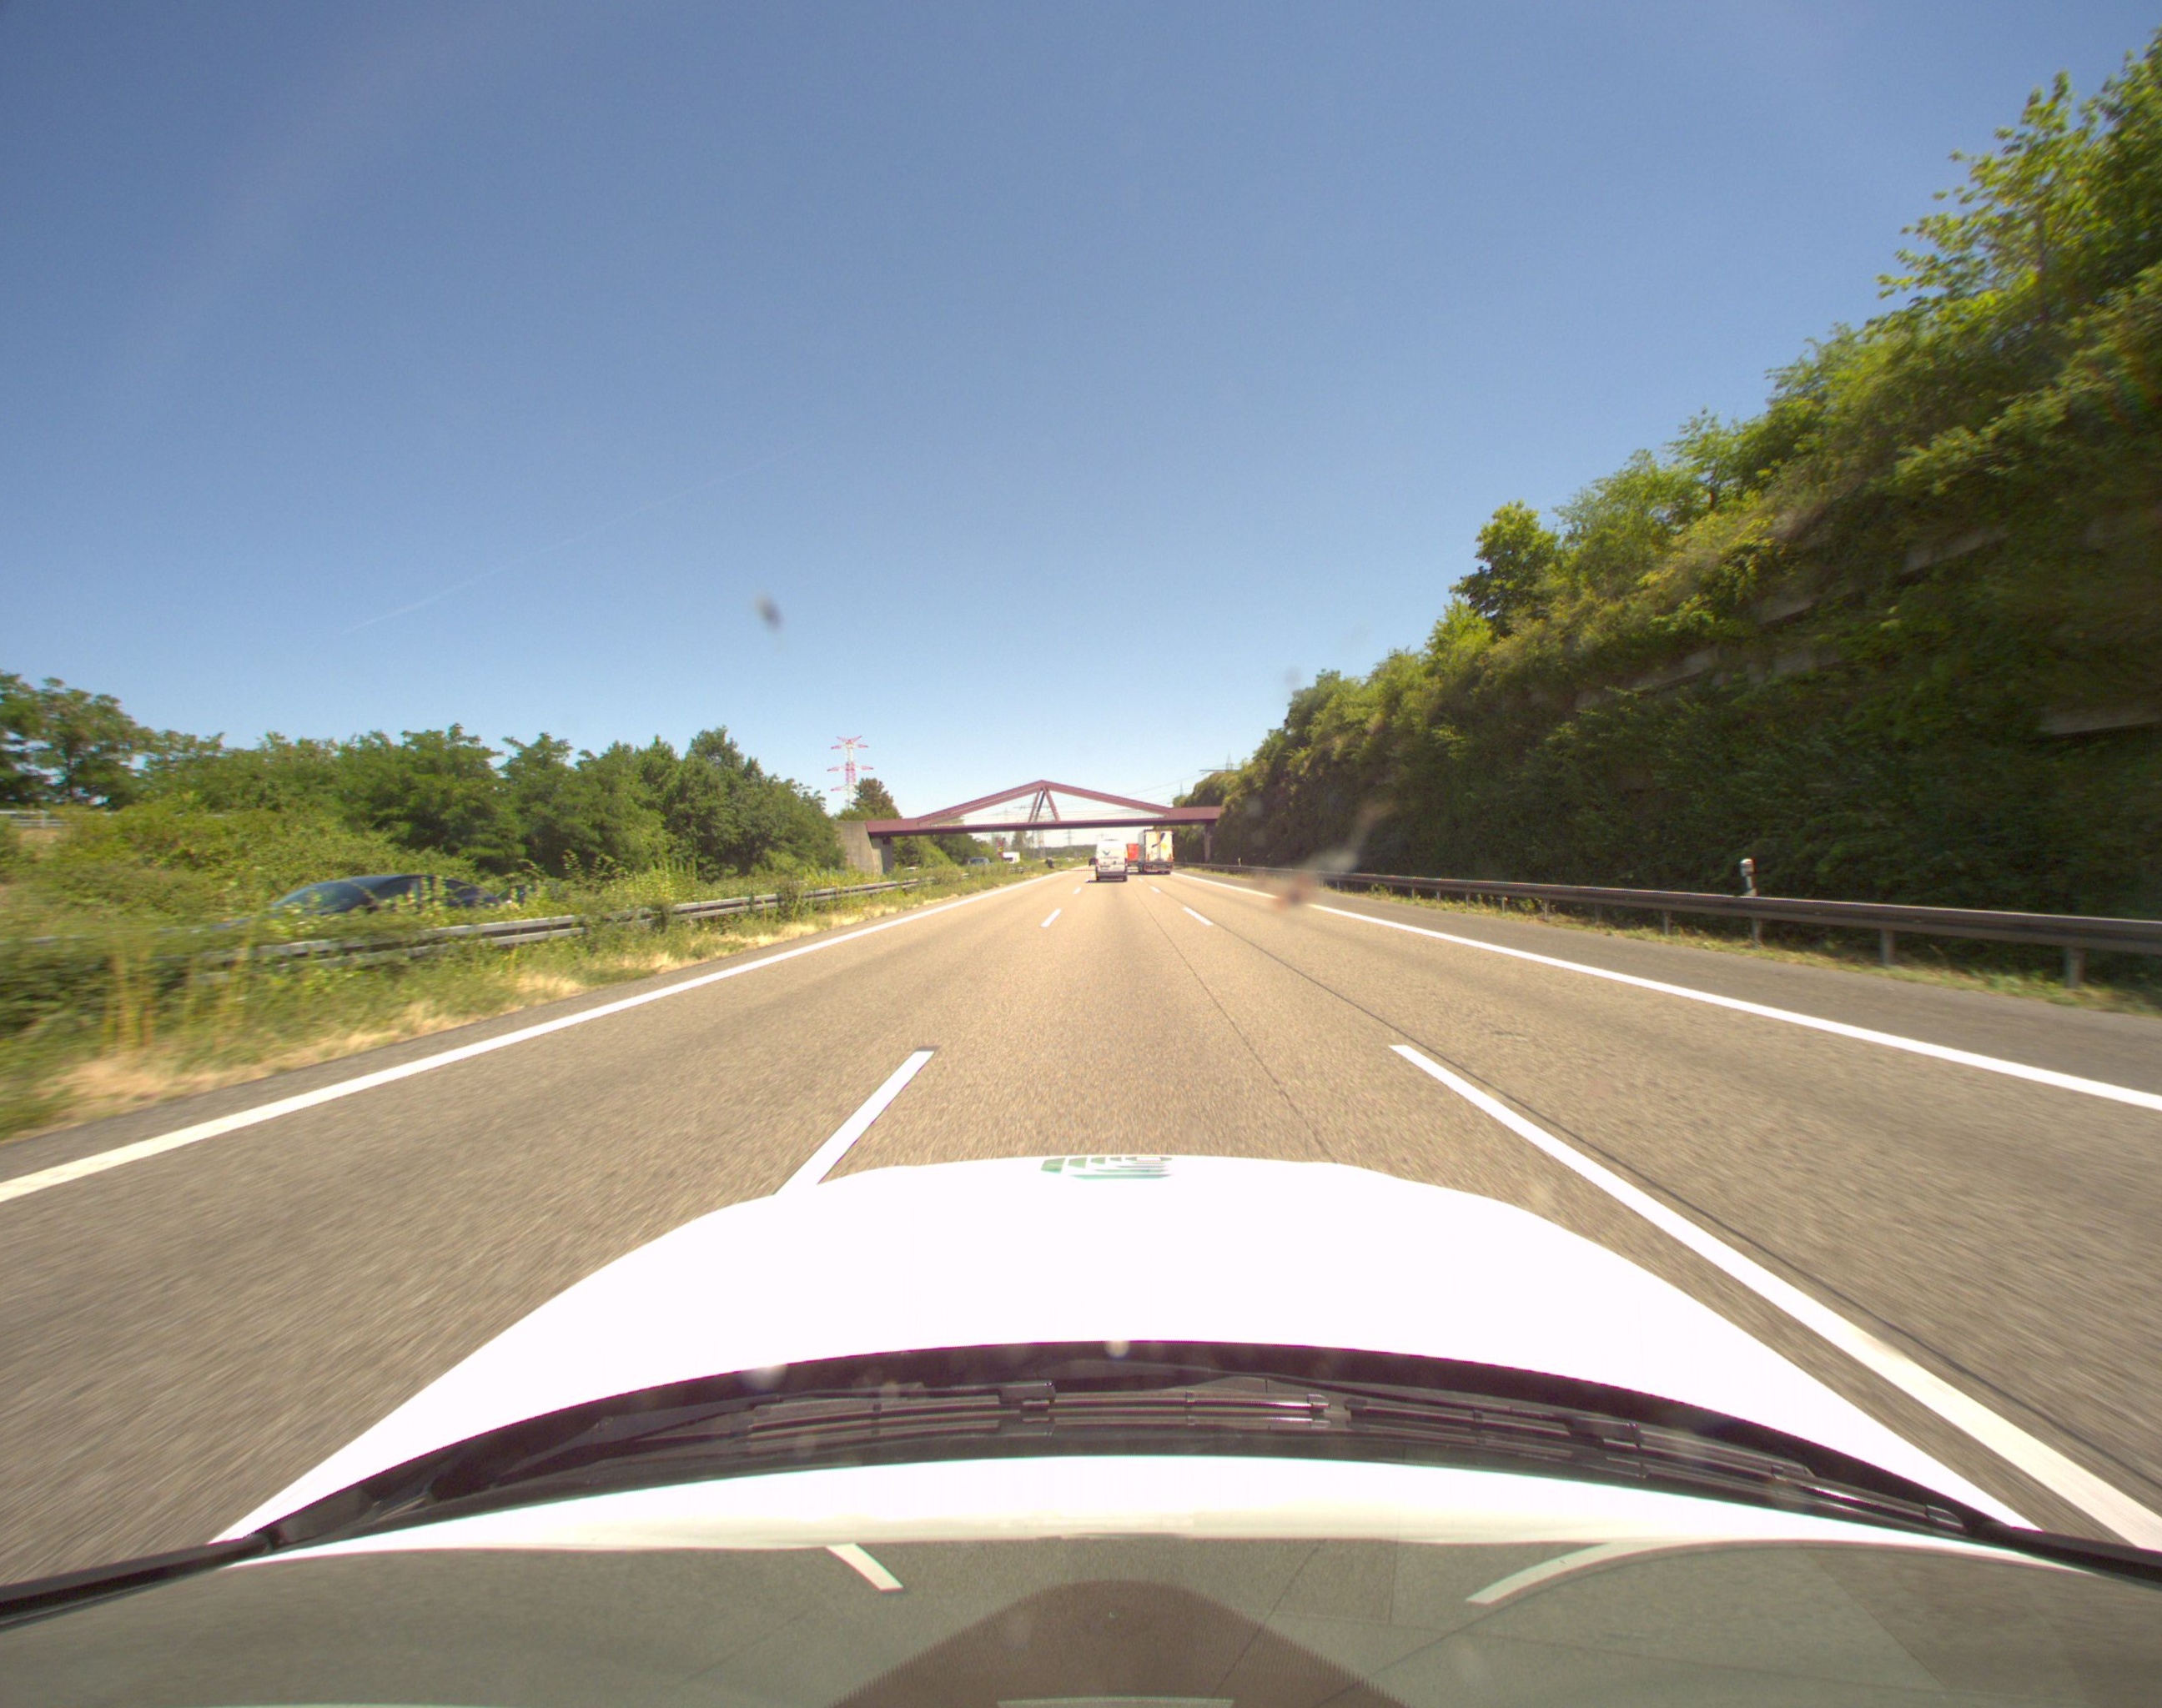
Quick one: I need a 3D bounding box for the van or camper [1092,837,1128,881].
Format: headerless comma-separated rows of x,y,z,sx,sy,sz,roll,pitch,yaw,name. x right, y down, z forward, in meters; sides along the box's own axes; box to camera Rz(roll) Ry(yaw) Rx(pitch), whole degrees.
1.905,0.328,53.570,2.222,2.782,5.424,0,0,1,van or camper

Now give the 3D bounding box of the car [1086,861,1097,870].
2.154,2.357,166.156,1.974,1.817,3.816,0,0,3,car

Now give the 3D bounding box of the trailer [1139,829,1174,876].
7.022,-0.128,77.016,2.627,4.060,12.373,0,0,2,trailer

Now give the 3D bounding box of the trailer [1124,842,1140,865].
8.820,-0.150,141.192,2.627,3.897,7.072,0,0,2,trailer

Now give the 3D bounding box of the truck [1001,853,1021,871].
-14.724,1.603,171.970,2.798,3.537,10.191,-3,0,1,truck
